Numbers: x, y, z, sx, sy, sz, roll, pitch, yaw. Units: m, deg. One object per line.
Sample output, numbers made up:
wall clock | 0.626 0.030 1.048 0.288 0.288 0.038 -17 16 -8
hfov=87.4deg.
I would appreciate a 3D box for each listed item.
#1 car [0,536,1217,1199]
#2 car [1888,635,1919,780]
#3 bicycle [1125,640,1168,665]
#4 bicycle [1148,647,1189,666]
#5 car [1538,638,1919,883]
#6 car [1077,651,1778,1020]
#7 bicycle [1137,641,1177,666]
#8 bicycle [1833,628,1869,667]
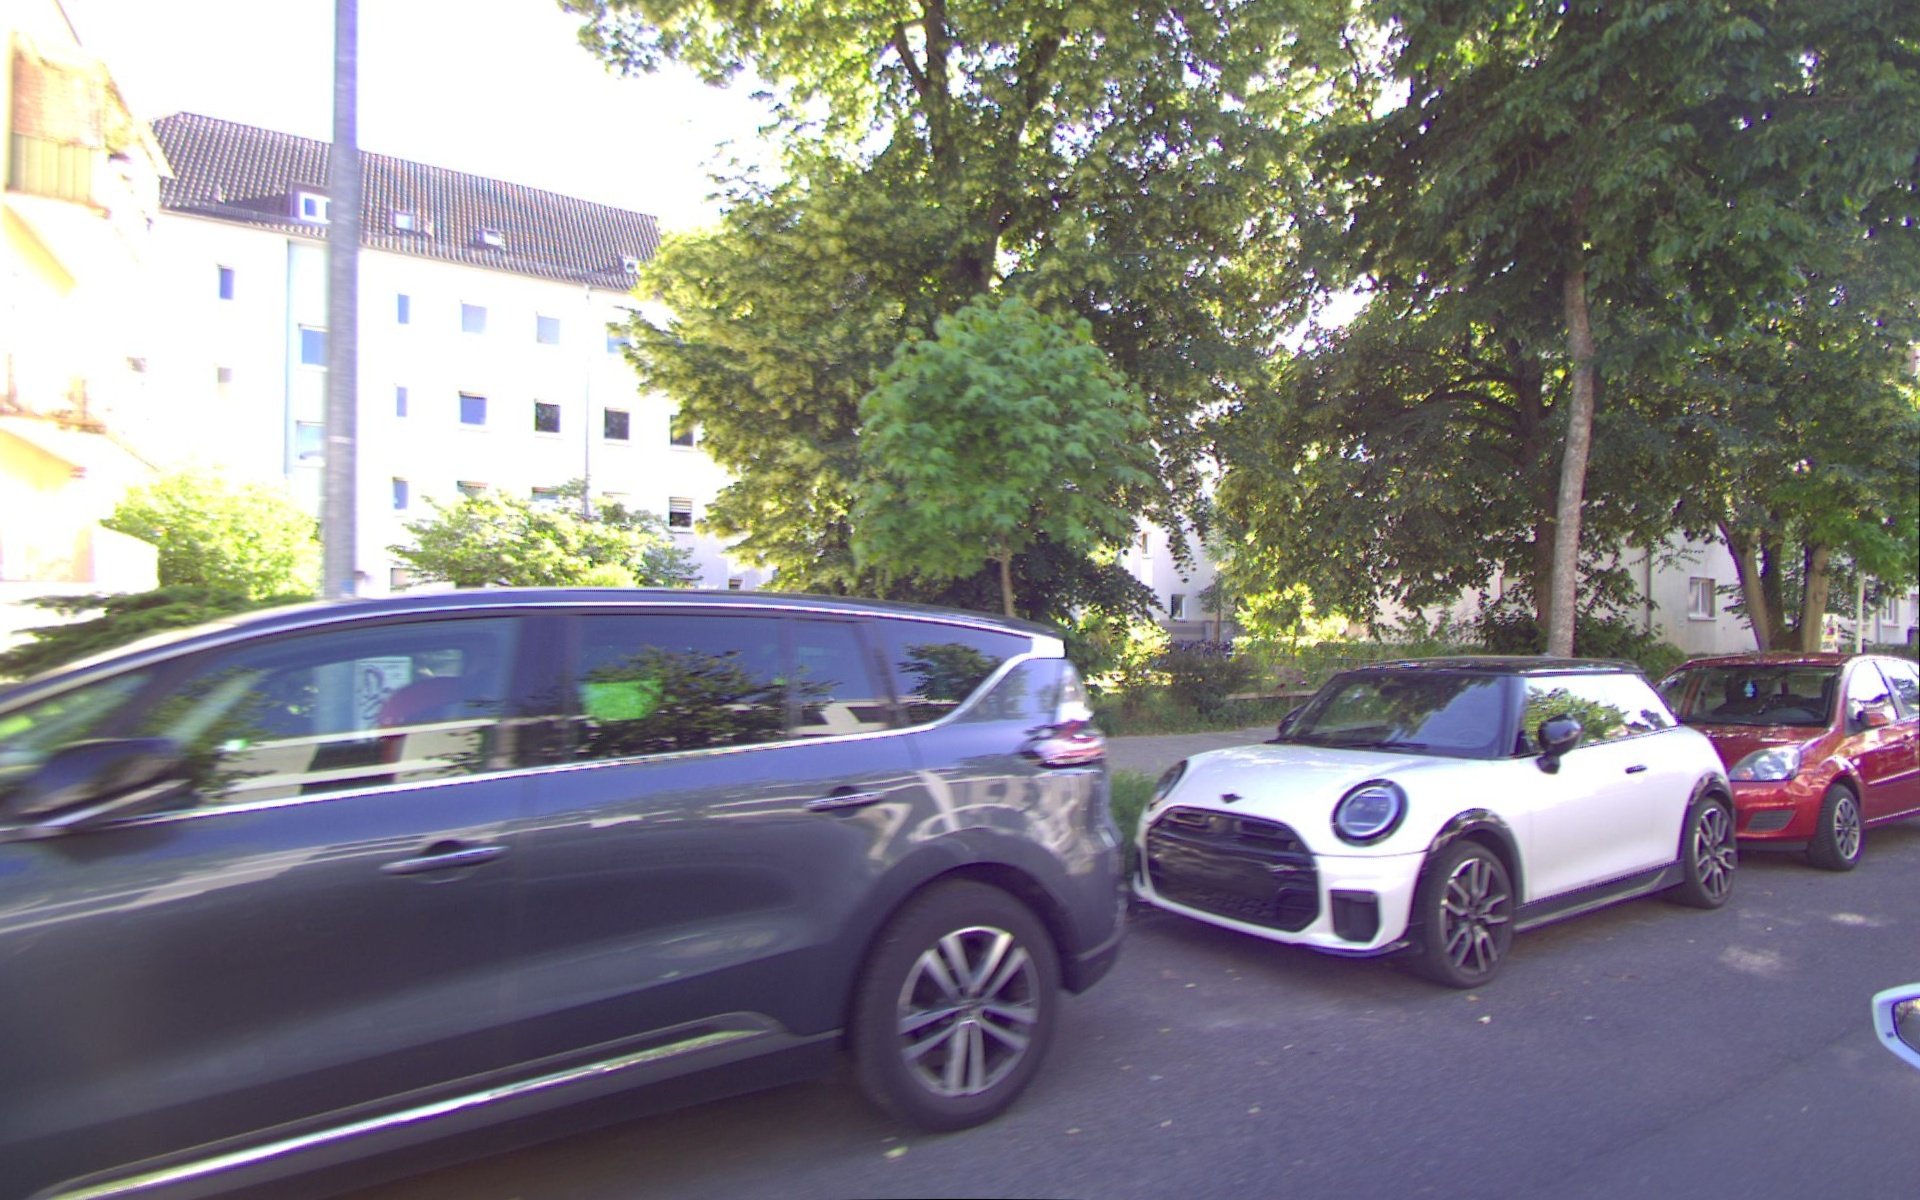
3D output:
car | -1.692 0.763 3.068 5.029 1.678 1.833 1 -2 -31
car | 12.819 1.213 11.707 4.428 1.598 1.698 1 -2 -30
bicycle | 8.167 2.302 44.104 0.720 1.066 1.948 1 -2 -33
bicycle | 9.306 2.520 44.919 0.556 0.785 1.948 1 -2 -33
car | 6.555 1.071 8.048 4.024 1.524 1.645 1 -3 -32
car | 2.796 1.003 5.720 4.143 1.391 1.645 1 -3 -32
bicycle | 8.728 2.346 44.553 0.556 1.066 1.948 1 -2 -33
bicycle | 31.195 1.658 35.155 1.892 1.306 0.396 1 -2 -32
